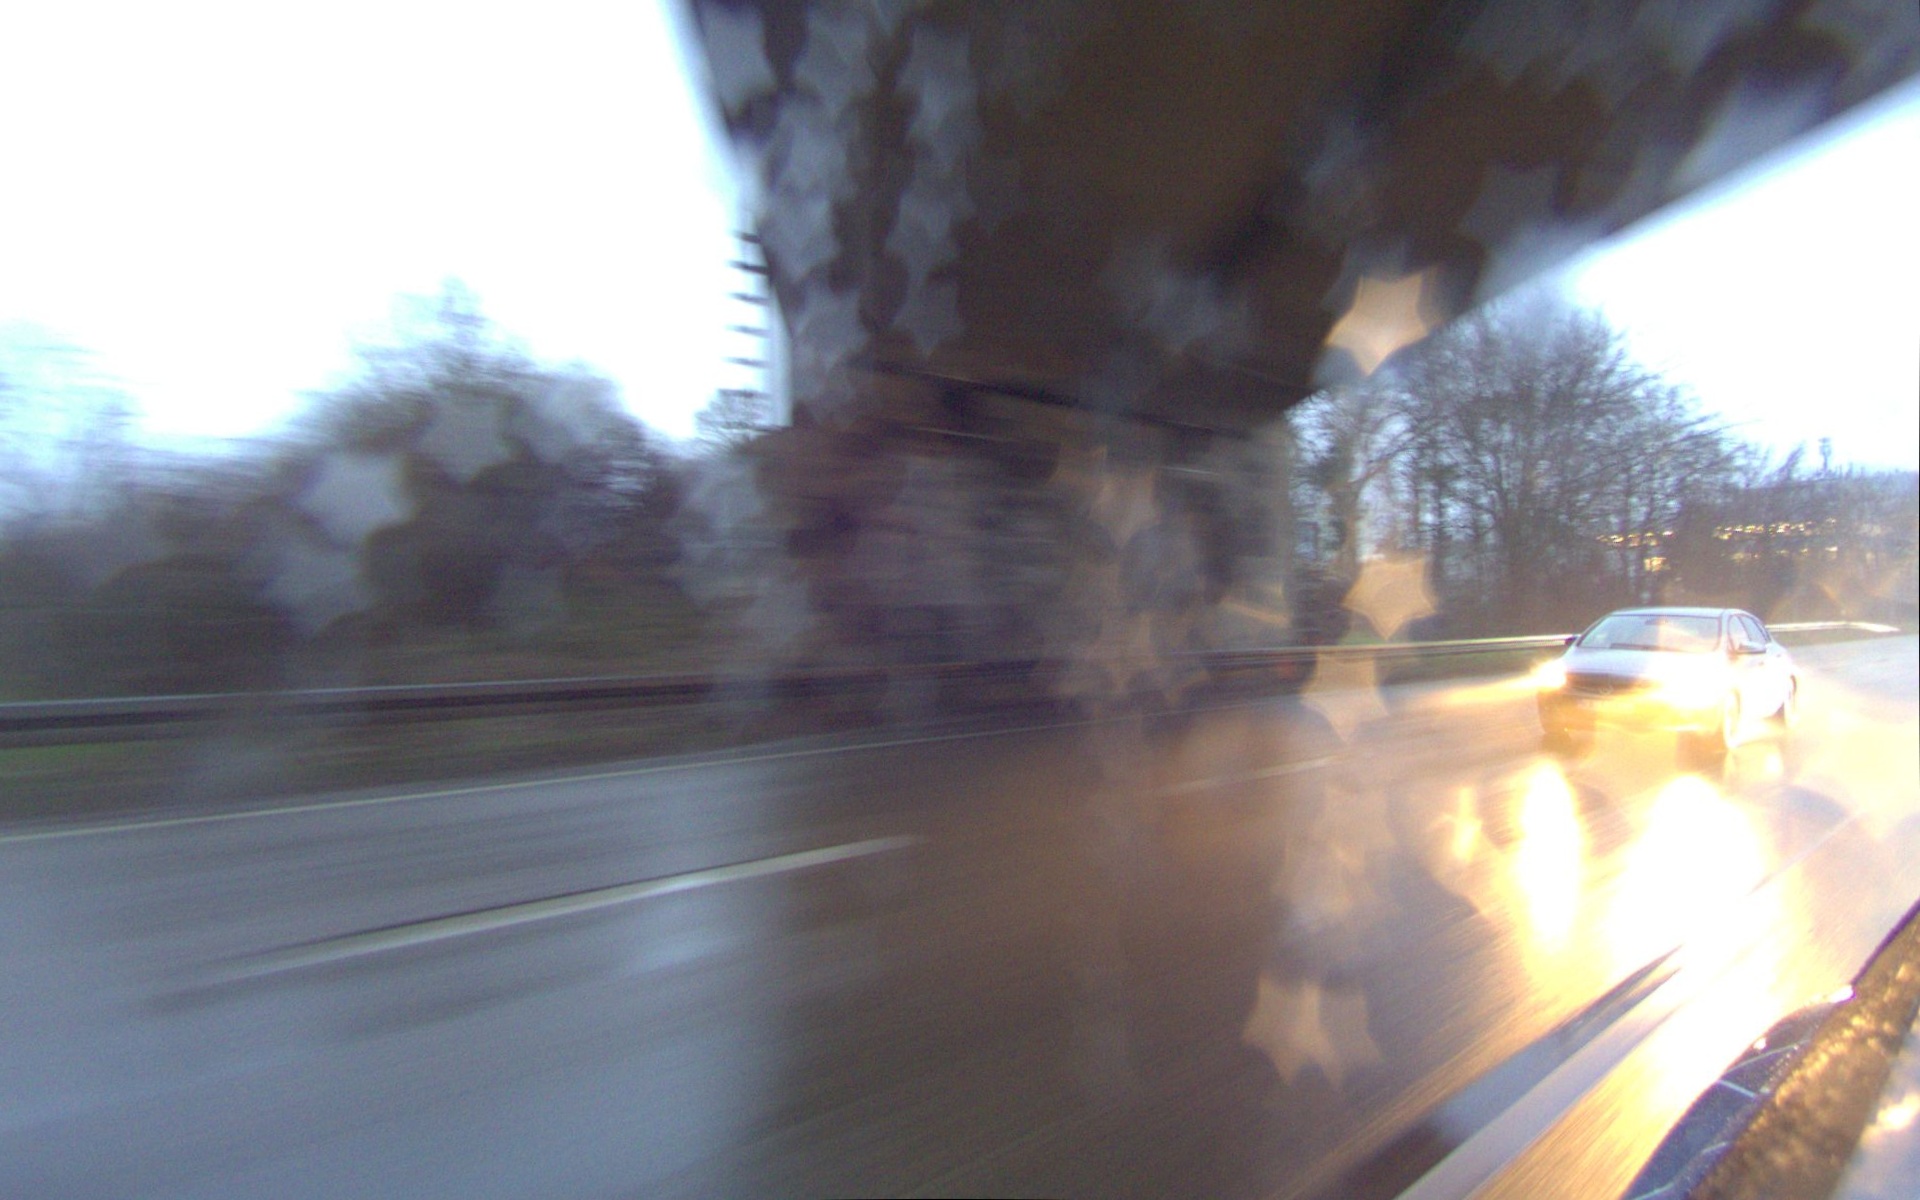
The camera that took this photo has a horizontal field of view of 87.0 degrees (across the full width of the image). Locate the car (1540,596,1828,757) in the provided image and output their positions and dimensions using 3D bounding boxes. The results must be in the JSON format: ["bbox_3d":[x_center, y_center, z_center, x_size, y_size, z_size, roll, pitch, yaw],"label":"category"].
[{"bbox_3d":[8.810,0.777,12.185,4.188,1.521,1.852,-2,0,-41],"label":"car"}]
